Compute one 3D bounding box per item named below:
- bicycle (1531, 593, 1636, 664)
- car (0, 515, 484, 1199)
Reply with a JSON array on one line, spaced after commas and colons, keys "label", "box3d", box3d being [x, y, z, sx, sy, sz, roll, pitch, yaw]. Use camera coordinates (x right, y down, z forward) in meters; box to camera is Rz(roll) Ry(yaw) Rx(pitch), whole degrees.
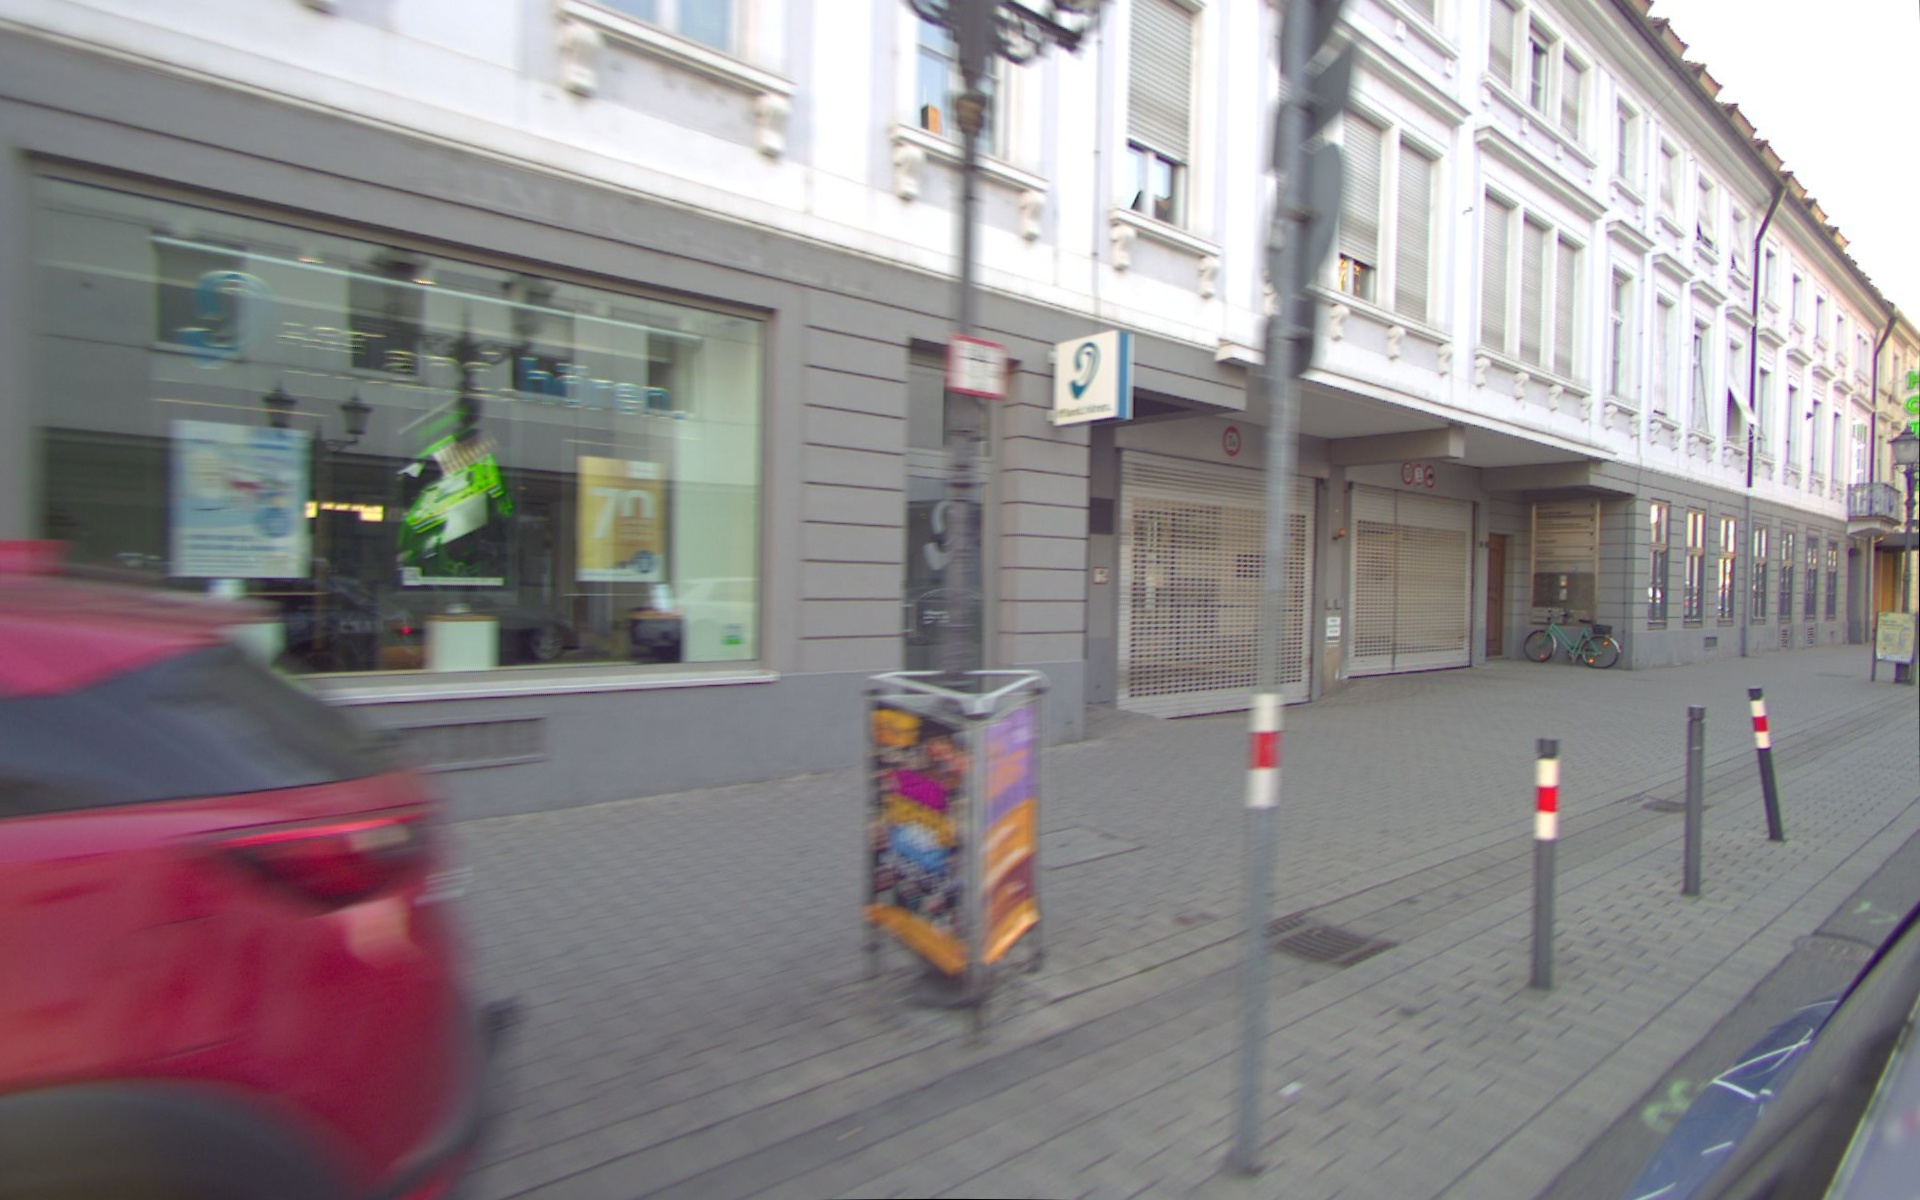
[{"label": "bicycle", "box3d": [11.997, 0.521, 19.518, 0.431, 1.268, 1.659, 0, 1, -41]}, {"label": "car", "box3d": [-2.699, 0.646, 1.132, 3.611, 1.542, 1.763, 0, 1, -39]}]
